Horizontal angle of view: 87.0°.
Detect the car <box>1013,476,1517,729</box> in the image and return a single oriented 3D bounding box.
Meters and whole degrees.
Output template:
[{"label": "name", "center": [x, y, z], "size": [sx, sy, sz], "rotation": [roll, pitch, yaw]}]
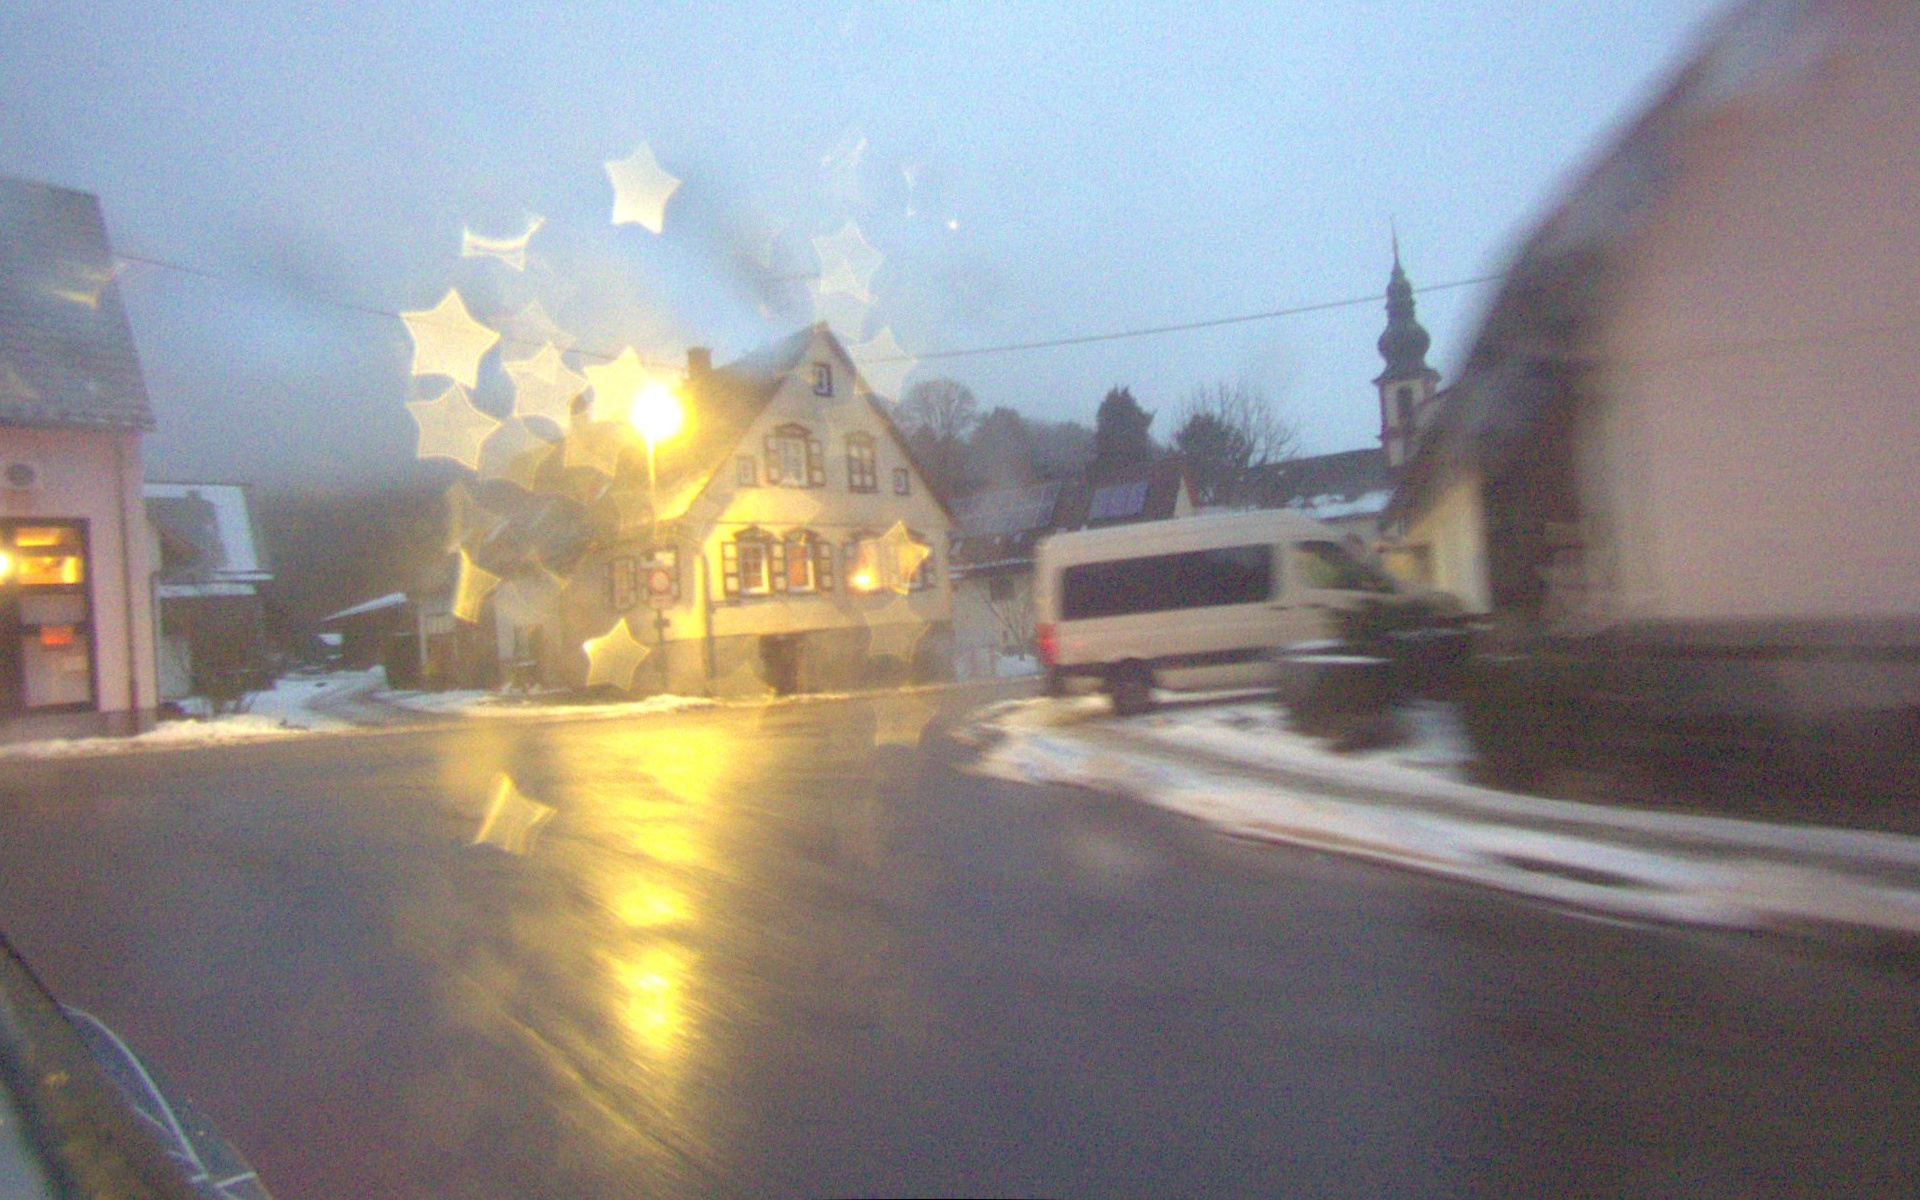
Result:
[{"label": "car", "center": [3.990, 0.106, 14.155], "size": [6.051, 2.572, 1.993], "rotation": [-7, -2, 11]}]
